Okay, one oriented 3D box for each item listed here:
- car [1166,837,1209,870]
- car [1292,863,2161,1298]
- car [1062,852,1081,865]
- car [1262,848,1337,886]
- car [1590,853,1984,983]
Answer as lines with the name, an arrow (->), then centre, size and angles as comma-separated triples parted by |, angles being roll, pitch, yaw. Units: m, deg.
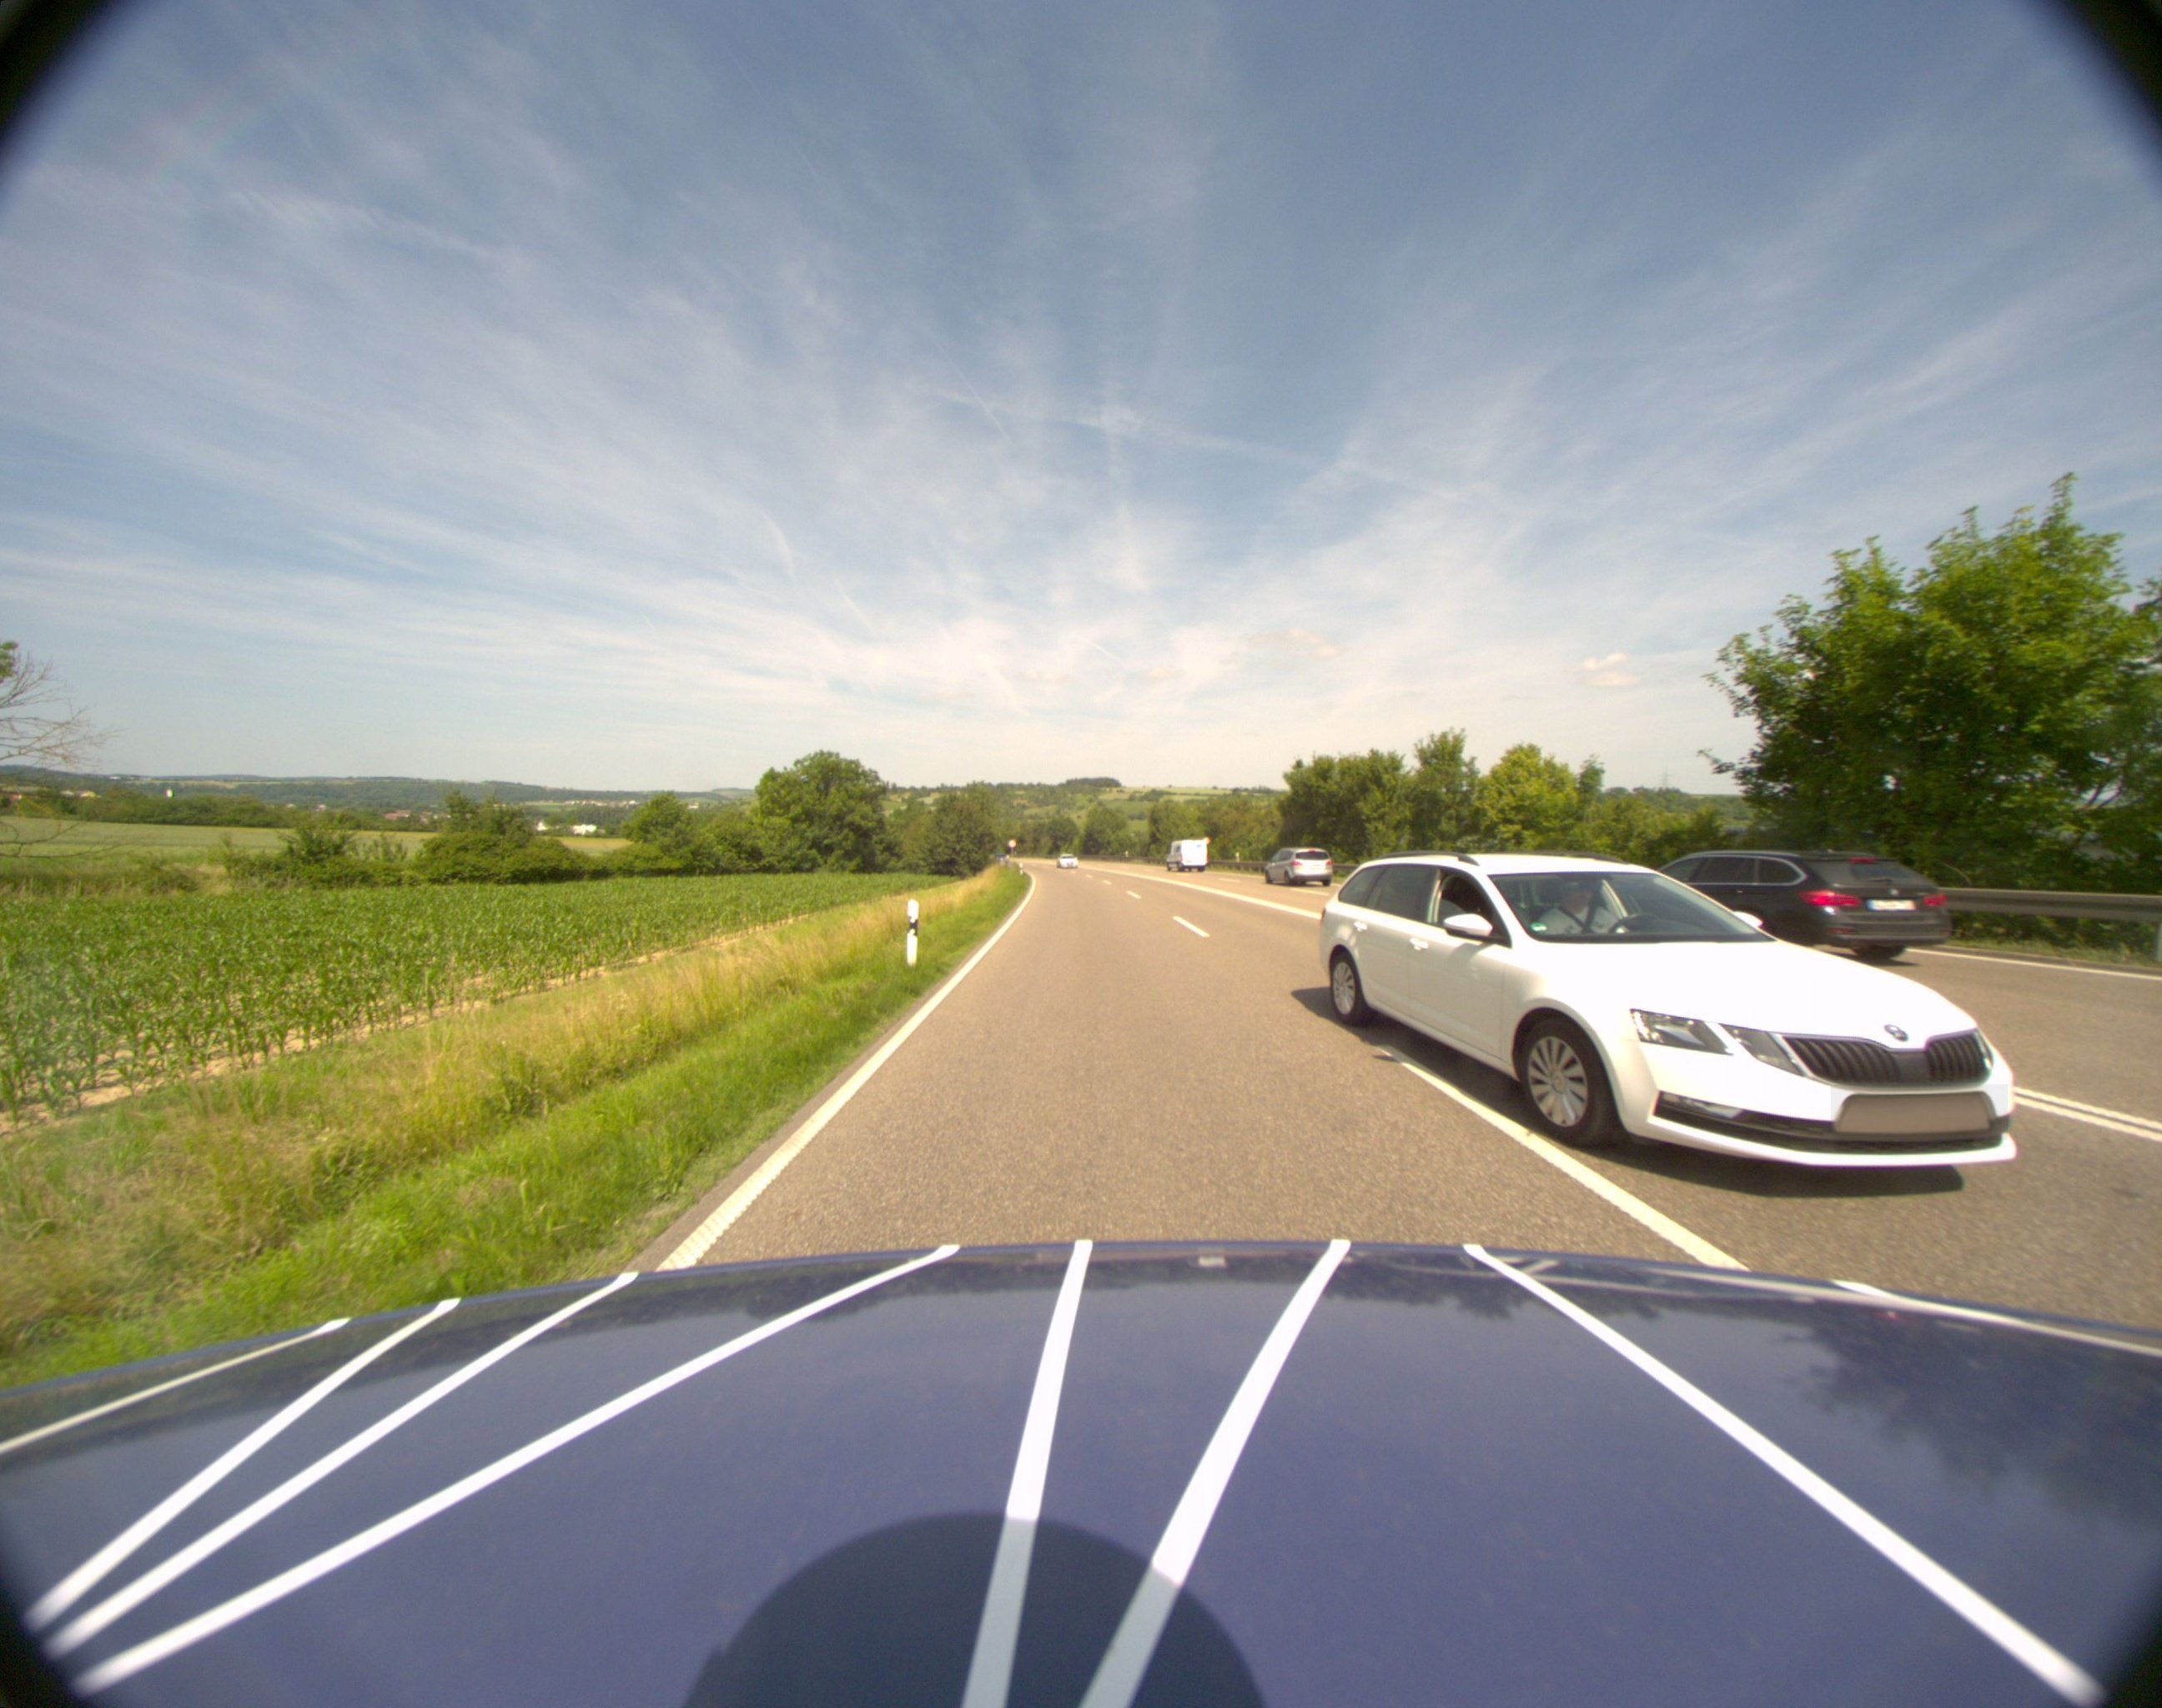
car -> 8.209, -0.031, 59.108 | 2.095, 2.381, 5.841 | -1, 0, -5
car -> 3.163, 0.843, 5.174 | 1.826, 1.463, 4.787 | -1, 0, -4
car -> -1.025, 0.452, 79.130 | 1.708, 1.368, 4.601 | -1, 0, -4
car -> 9.477, 0.522, 33.340 | 1.818, 1.559, 4.682 | 0, 0, -2
car -> 9.547, 0.735, 10.867 | 1.722, 1.453, 4.215 | -1, 0, 0
